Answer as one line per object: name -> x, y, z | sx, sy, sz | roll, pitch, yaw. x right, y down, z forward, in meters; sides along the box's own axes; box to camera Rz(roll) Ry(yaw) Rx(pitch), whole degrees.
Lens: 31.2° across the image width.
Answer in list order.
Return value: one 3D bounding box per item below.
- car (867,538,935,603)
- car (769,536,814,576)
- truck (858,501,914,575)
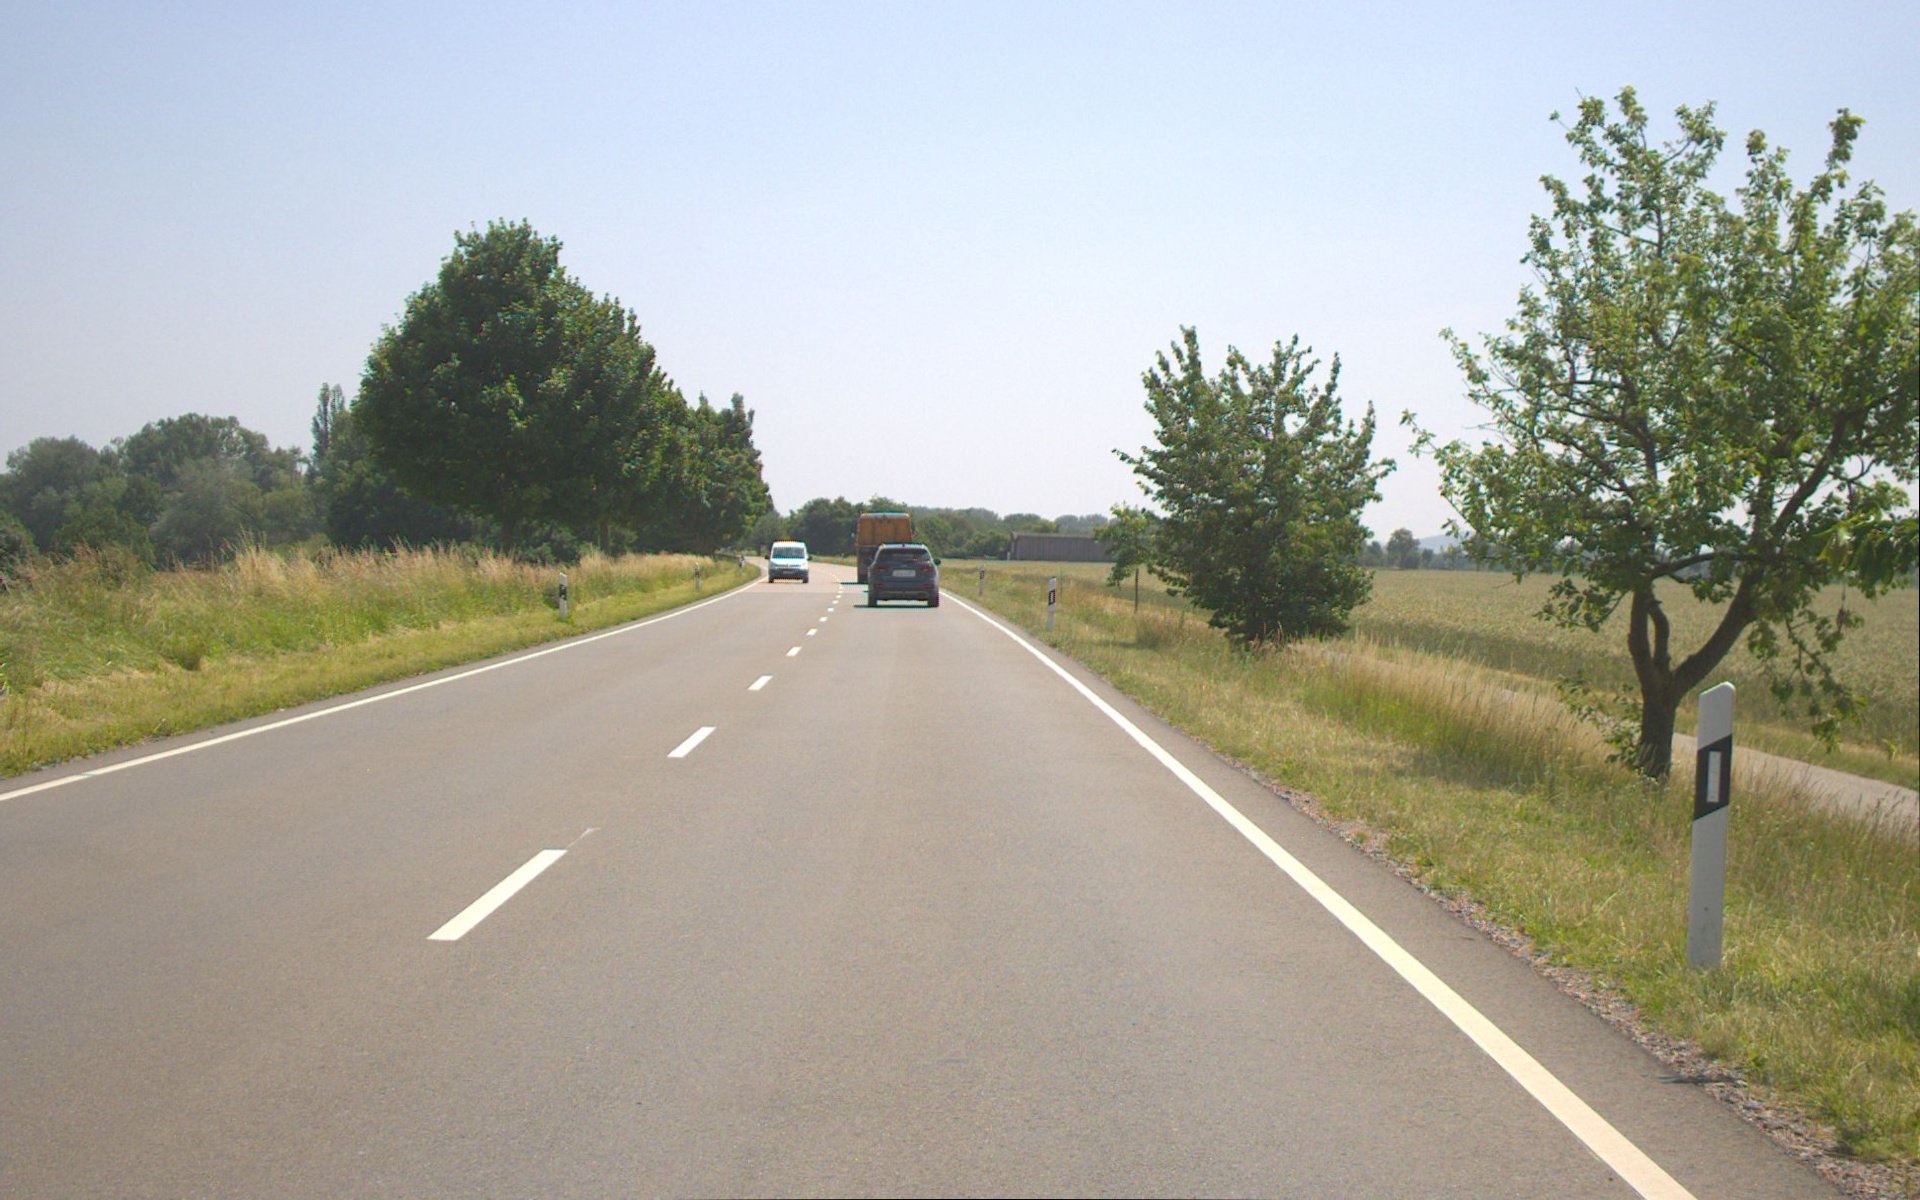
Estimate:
car -> -1.570, -0.803, 92.092 | 1.714, 1.688, 3.989 | 1, 1, 0
car -> -7.488, -1.941, 152.926 | 1.787, 1.722, 4.304 | 1, 1, -1
truck -> -3.337, -2.768, 153.734 | 2.370, 3.129, 8.748 | 2, 1, -2
